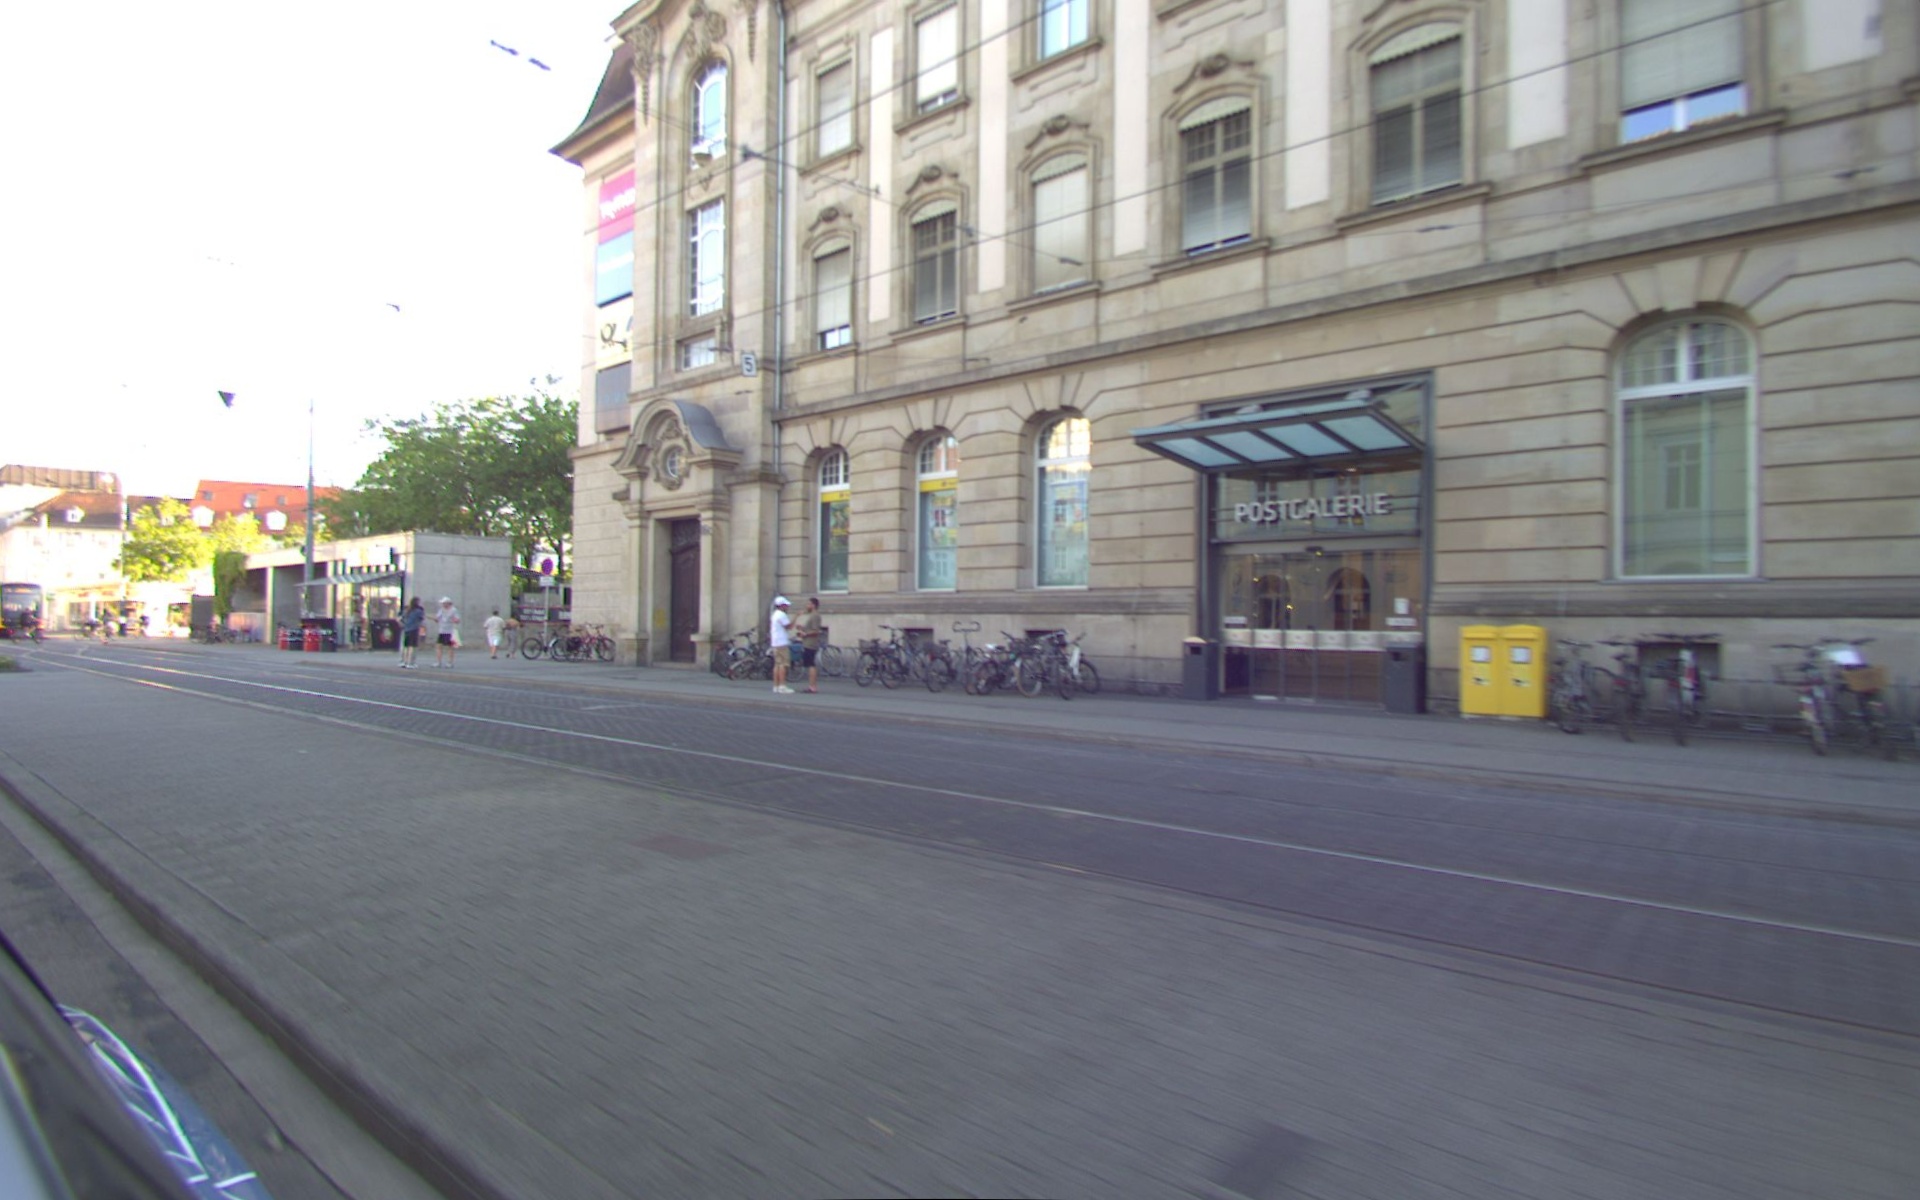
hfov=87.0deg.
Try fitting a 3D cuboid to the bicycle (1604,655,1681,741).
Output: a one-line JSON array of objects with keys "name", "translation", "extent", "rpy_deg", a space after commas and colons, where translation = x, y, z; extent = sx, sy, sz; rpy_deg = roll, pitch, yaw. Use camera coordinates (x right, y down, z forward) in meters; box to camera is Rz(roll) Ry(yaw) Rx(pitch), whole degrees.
[{"name": "bicycle", "translation": [8.073, 1.129, 11.951], "extent": [1.557, 0.880, 0.451], "rpy_deg": [0, 0, -45]}]

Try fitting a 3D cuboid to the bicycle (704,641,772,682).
[{"name": "bicycle", "translation": [-5.162, 1.416, 23.552], "extent": [1.557, 0.880, 0.451], "rpy_deg": [0, 0, -45]}]

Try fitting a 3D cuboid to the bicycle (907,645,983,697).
[{"name": "bicycle", "translation": [-0.267, 1.304, 18.910], "extent": [1.557, 0.880, 0.451], "rpy_deg": [0, 0, -45]}]

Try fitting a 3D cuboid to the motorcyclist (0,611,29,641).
[{"name": "motorcyclist", "translation": [-47.602, 1.298, 50.925], "extent": [0.791, 1.450, 0.798], "rpy_deg": [0, 0, 9]}]

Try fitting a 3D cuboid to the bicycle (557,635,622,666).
[{"name": "bicycle", "translation": [-11.259, 1.522, 30.796], "extent": [0.634, 0.875, 1.817], "rpy_deg": [0, 0, 39]}]

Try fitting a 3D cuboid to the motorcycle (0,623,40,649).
[{"name": "motorcycle", "translation": [-47.583, 1.802, 50.980], "extent": [0.797, 1.247, 1.775], "rpy_deg": [0, 0, 9]}]

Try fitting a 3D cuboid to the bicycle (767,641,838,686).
[{"name": "bicycle", "translation": [-3.404, 1.360, 21.909], "extent": [1.557, 0.880, 0.451], "rpy_deg": [0, 0, -45]}]

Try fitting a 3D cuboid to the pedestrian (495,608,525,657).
[{"name": "pedestrian", "translation": [-14.841, 1.071, 33.365], "extent": [0.679, 1.573, 0.653], "rpy_deg": [-1, -2, 37]}]

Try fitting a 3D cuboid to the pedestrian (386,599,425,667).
[{"name": "pedestrian", "translation": [-14.413, 0.860, 26.318], "extent": [0.593, 1.749, 0.643], "rpy_deg": [-1, -3, 32]}]

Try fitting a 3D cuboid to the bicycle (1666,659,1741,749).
[{"name": "bicycle", "translation": [8.473, 1.155, 11.518], "extent": [1.557, 0.880, 0.451], "rpy_deg": [0, 0, -45]}]

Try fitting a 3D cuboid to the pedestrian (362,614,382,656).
[{"name": "pedestrian", "translation": [-23.987, 1.419, 41.277], "extent": [0.551, 1.665, 0.556], "rpy_deg": [0, 0, 35]}]

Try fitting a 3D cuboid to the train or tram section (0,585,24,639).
[{"name": "train or tram section", "translation": [-71.183, 0.953, 73.864], "extent": [11.976, 3.714, 2.865], "rpy_deg": [-1, -2, 41]}]

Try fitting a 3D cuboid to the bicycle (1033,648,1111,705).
[{"name": "bicycle", "translation": [1.947, 1.294, 17.465], "extent": [1.557, 0.880, 0.451], "rpy_deg": [0, 0, -45]}]

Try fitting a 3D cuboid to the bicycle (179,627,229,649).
[{"name": "bicycle", "translation": [-41.530, 2.097, 55.635], "extent": [0.692, 1.168, 2.103], "rpy_deg": [-1, -2, 42]}]

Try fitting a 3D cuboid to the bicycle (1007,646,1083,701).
[{"name": "bicycle", "translation": [1.540, 1.297, 18.094], "extent": [1.557, 0.880, 0.451], "rpy_deg": [0, 0, -45]}]

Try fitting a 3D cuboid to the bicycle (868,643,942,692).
[{"name": "bicycle", "translation": [-1.079, 1.316, 20.044], "extent": [1.557, 0.880, 0.451], "rpy_deg": [0, 0, -45]}]

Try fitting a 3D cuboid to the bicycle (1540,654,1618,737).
[{"name": "bicycle", "translation": [7.567, 1.141, 12.353], "extent": [1.557, 0.880, 0.451], "rpy_deg": [0, 0, -45]}]

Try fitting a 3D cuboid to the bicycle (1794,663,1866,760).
[{"name": "bicycle", "translation": [9.254, 1.151, 10.745], "extent": [1.557, 0.880, 0.451], "rpy_deg": [0, 0, -45]}]

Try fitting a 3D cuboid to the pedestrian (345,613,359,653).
[{"name": "pedestrian", "translation": [-25.507, 1.382, 42.437], "extent": [0.400, 1.665, 0.389], "rpy_deg": [0, 0, 35]}]

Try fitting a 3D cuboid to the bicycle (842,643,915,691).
[{"name": "bicycle", "translation": [-1.643, 1.351, 20.561], "extent": [1.557, 0.880, 0.451], "rpy_deg": [0, 0, -45]}]

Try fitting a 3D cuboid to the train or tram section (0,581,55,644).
[{"name": "train or tram section", "translation": [-61.651, 0.887, 65.473], "extent": [13.473, 3.714, 2.865], "rpy_deg": [-1, -2, 41]}]

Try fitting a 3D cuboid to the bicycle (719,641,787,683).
[{"name": "bicycle", "translation": [-4.736, 1.414, 23.221], "extent": [1.557, 0.880, 0.451], "rpy_deg": [0, 0, -45]}]

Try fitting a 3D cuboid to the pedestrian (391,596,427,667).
[{"name": "pedestrian", "translation": [-13.876, 0.801, 25.489], "extent": [0.678, 1.749, 0.477], "rpy_deg": [-1, -3, 32]}]

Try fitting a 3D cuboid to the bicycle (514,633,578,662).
[{"name": "bicycle", "translation": [-13.337, 1.514, 32.640], "extent": [0.634, 0.875, 1.817], "rpy_deg": [0, 0, 39]}]

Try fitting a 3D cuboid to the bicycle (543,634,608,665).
[{"name": "bicycle", "translation": [-11.847, 1.525, 31.220], "extent": [0.634, 0.875, 1.817], "rpy_deg": [0, 0, 39]}]

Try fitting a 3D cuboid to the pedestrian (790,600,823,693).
[{"name": "pedestrian", "translation": [-2.826, 0.848, 18.653], "extent": [0.491, 1.686, 0.373], "rpy_deg": [0, 0, 28]}]

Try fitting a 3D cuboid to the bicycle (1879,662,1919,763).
[{"name": "bicycle", "translation": [9.663, 1.113, 10.246], "extent": [1.557, 0.880, 0.451], "rpy_deg": [0, 0, -45]}]

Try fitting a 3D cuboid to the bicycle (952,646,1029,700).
[{"name": "bicycle", "translation": [0.562, 1.300, 18.351], "extent": [1.557, 0.880, 0.451], "rpy_deg": [0, 0, -45]}]

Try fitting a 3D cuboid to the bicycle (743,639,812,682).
[{"name": "bicycle", "translation": [-4.061, 1.345, 22.596], "extent": [1.557, 0.880, 0.451], "rpy_deg": [0, 0, -45]}]

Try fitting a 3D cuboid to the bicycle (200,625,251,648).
[{"name": "bicycle", "translation": [-38.879, 1.922, 53.578], "extent": [0.692, 1.168, 2.103], "rpy_deg": [-1, -2, 42]}]

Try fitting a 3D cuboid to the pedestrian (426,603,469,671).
[{"name": "pedestrian", "translation": [-13.382, 0.971, 26.415], "extent": [0.674, 1.749, 0.674], "rpy_deg": [0, -3, 13]}]

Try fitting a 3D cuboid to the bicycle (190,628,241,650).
[{"name": "bicycle", "translation": [-40.133, 2.090, 54.598], "extent": [0.692, 1.168, 2.103], "rpy_deg": [-1, -2, 42]}]

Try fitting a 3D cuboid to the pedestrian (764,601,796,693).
[{"name": "pedestrian", "translation": [-3.284, 0.848, 18.438], "extent": [0.370, 1.643, 0.494], "rpy_deg": [0, 0, -41]}]

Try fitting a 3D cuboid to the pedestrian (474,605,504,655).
[{"name": "pedestrian", "translation": [-15.278, 0.965, 32.823], "extent": [0.679, 1.573, 0.653], "rpy_deg": [-1, -2, 37]}]
